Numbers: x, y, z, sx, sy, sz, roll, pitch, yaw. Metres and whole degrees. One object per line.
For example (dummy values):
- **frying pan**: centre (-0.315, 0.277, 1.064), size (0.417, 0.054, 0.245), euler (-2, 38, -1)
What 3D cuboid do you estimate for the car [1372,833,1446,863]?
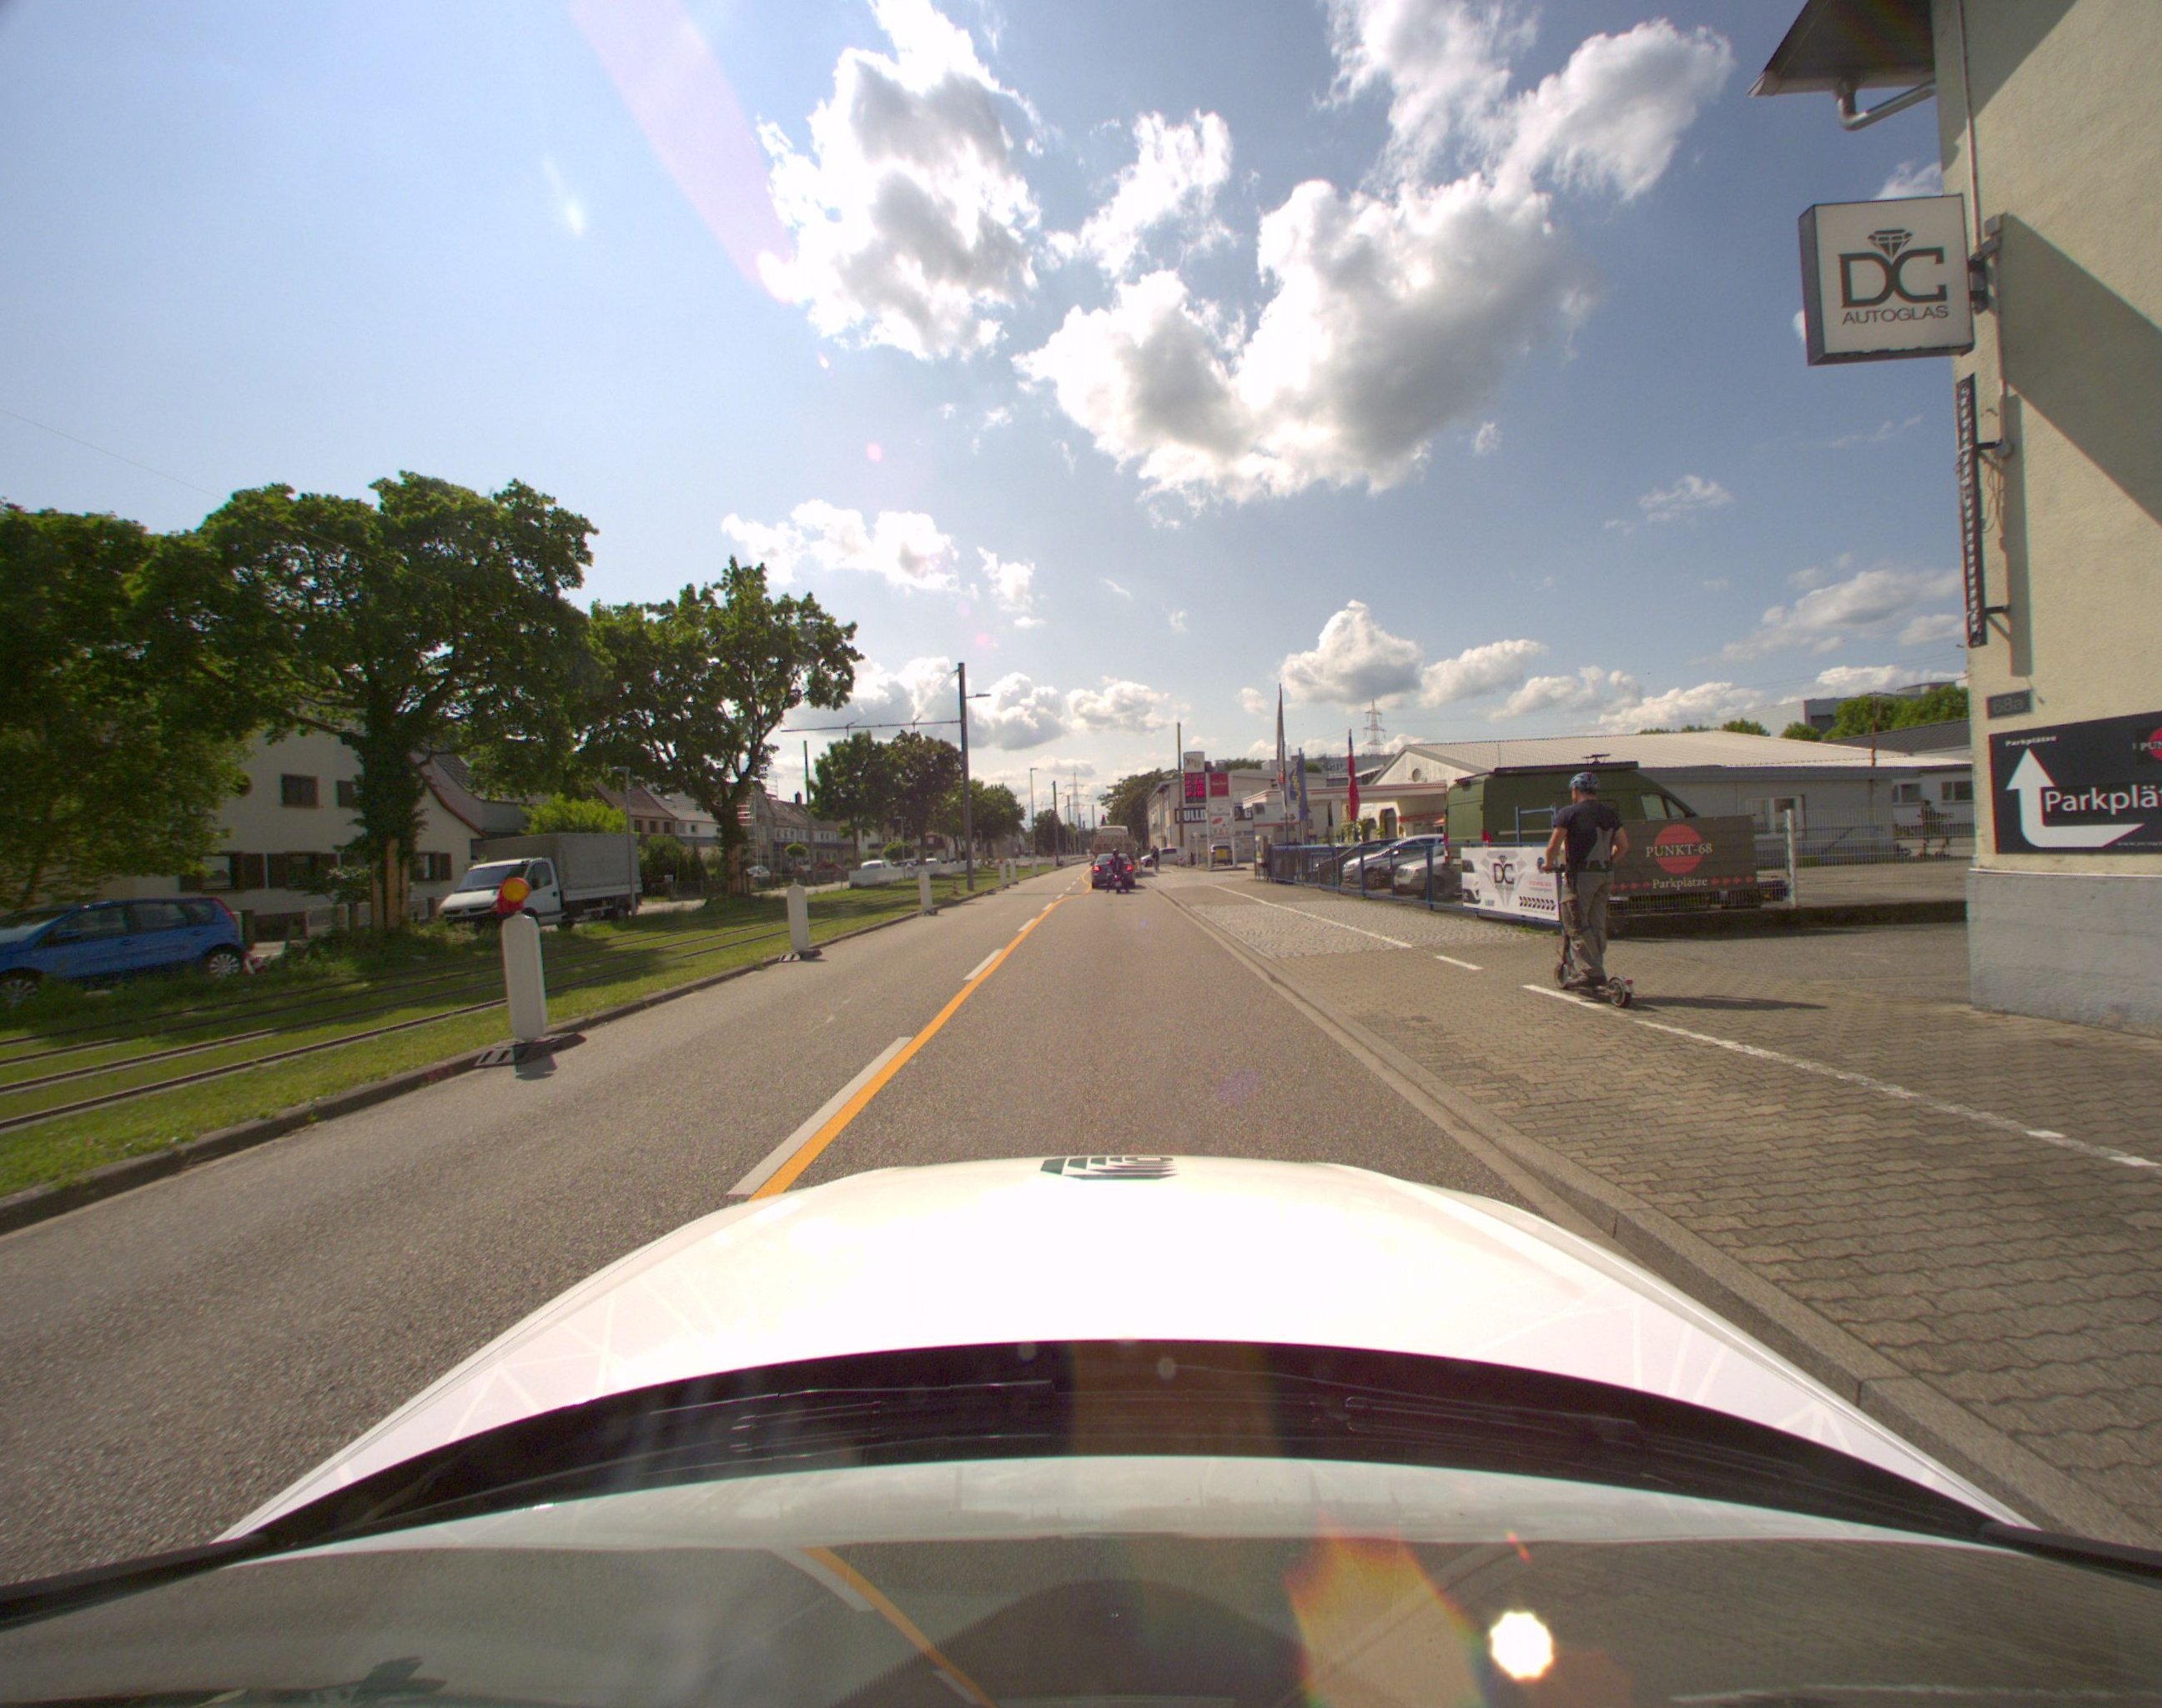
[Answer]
- **car**: centre (17.656, -0.310, 43.966), size (3.308, 1.360, 1.612), euler (-4, -1, 2)

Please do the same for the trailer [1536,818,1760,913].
- **trailer**: centre (9.466, 0.188, 13.734), size (2.771, 1.333, 1.303), euler (-4, -1, 2)

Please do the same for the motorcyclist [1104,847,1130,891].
- **motorcyclist**: centre (1.365, 0.547, 30.620), size (0.936, 1.615, 1.205), euler (-1, 0, 2)

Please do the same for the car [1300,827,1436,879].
- **car**: centre (9.246, -0.017, 26.399), size (3.954, 1.442, 1.719), euler (-3, 0, 19)

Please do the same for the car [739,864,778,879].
- **car**: centre (-25.480, 1.377, 64.520), size (1.682, 1.052, 3.974), euler (-4, -1, -5)

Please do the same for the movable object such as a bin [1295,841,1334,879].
- **movable object such as a bin**: centre (9.273, 0.239, 32.399), size (1.251, 1.444, 0.824), euler (-4, -1, 2)

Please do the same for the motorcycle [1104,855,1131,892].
- **motorcycle**: centre (1.371, 0.701, 30.801), size (0.936, 1.320, 2.646), euler (-1, 0, 2)

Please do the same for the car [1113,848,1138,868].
- **car**: centre (3.502, 0.330, 64.445), size (1.814, 1.464, 4.003), euler (-2, 0, 2)

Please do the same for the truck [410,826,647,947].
- **truck**: centre (-15.146, 0.763, 23.010), size (1.986, 2.767, 6.279), euler (-6, 0, 2)

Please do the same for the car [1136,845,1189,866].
- **car**: centre (7.231, 0.121, 72.568), size (4.325, 1.551, 1.945), euler (-4, -1, -7)

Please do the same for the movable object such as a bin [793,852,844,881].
- **movable object such as a bin**: centre (-24.692, 1.153, 76.652), size (4.351, 2.449, 1.777), euler (-3, 0, -20)

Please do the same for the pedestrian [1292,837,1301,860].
- **pedestrian**: centre (16.027, -0.419, 60.550), size (0.395, 1.689, 0.486), euler (-4, -1, 3)

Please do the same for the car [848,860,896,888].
- **car**: centre (-14.264, 1.352, 55.791), size (1.986, 1.750, 4.002), euler (-4, -1, 2)

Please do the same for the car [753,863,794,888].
- **car**: centre (-23.088, 1.610, 61.232), size (1.678, 1.721, 3.031), euler (-4, -1, 2)

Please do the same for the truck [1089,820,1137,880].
- **truck**: centre (2.055, -0.331, 51.613), size (2.600, 3.255, 9.189), euler (-4, 1, 3)

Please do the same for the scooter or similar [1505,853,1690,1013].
- **scooter or similar**: centre (4.420, 0.619, 7.120), size (0.538, 1.195, 1.611), euler (-5, -1, 2)

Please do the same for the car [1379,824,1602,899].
- **car**: centre (9.232, 0.173, 18.687), size (4.159, 1.431, 1.825), euler (-3, 0, 8)

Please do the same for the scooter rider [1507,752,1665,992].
- **scooter rider**: centre (4.473, 0.158, 7.282), size (0.714, 1.963, 0.786), euler (-6, -2, 2)

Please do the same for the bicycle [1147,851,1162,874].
- **bicycle**: centre (4.645, 0.520, 51.494), size (0.690, 1.361, 2.419), euler (-3, 0, 1)

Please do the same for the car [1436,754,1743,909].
- **car**: centre (9.683, -0.403, 15.870), size (4.517, 2.573, 2.153), euler (-3, -1, 3)

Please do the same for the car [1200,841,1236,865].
- **car**: centre (10.344, -0.073, 61.869), size (1.953, 1.648, 3.999), euler (-4, -1, 0)

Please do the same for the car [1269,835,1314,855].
- **car**: centre (21.197, -0.897, 81.981), size (3.973, 1.648, 1.966), euler (-4, -1, 1)

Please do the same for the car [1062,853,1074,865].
- **car**: centre (-1.829, 0.683, 115.836), size (1.649, 1.447, 4.303), euler (-4, 0, 0)

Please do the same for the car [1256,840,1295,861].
- **car**: centre (14.862, -0.226, 62.474), size (1.953, 1.420, 3.999), euler (-4, -1, 0)

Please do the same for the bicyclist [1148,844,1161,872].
- **bicyclist**: centre (4.631, 0.260, 51.294), size (0.669, 1.744, 0.814), euler (-3, 0, 1)

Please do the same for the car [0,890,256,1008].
- **car**: centre (-15.483, 1.410, 12.250), size (1.987, 1.453, 3.999), euler (-4, -1, 0)

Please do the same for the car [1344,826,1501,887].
- **car**: centre (9.737, 0.072, 23.544), size (3.956, 1.496, 1.758), euler (-3, 0, 17)

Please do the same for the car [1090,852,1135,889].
- **car**: centre (1.362, 0.684, 35.279), size (1.815, 1.424, 4.002), euler (-2, 0, 2)

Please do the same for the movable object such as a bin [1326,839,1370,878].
- **movable object such as a bin**: centre (10.598, 0.166, 32.376), size (1.318, 1.444, 0.953), euler (-4, -1, -5)

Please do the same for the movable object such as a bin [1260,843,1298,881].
- **movable object such as a bin**: centre (7.907, 0.314, 32.544), size (1.251, 1.444, 0.824), euler (-4, -1, 2)

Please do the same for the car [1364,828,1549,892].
- **car**: centre (9.583, 0.158, 21.072), size (3.962, 1.356, 1.825), euler (-3, 0, 10)
